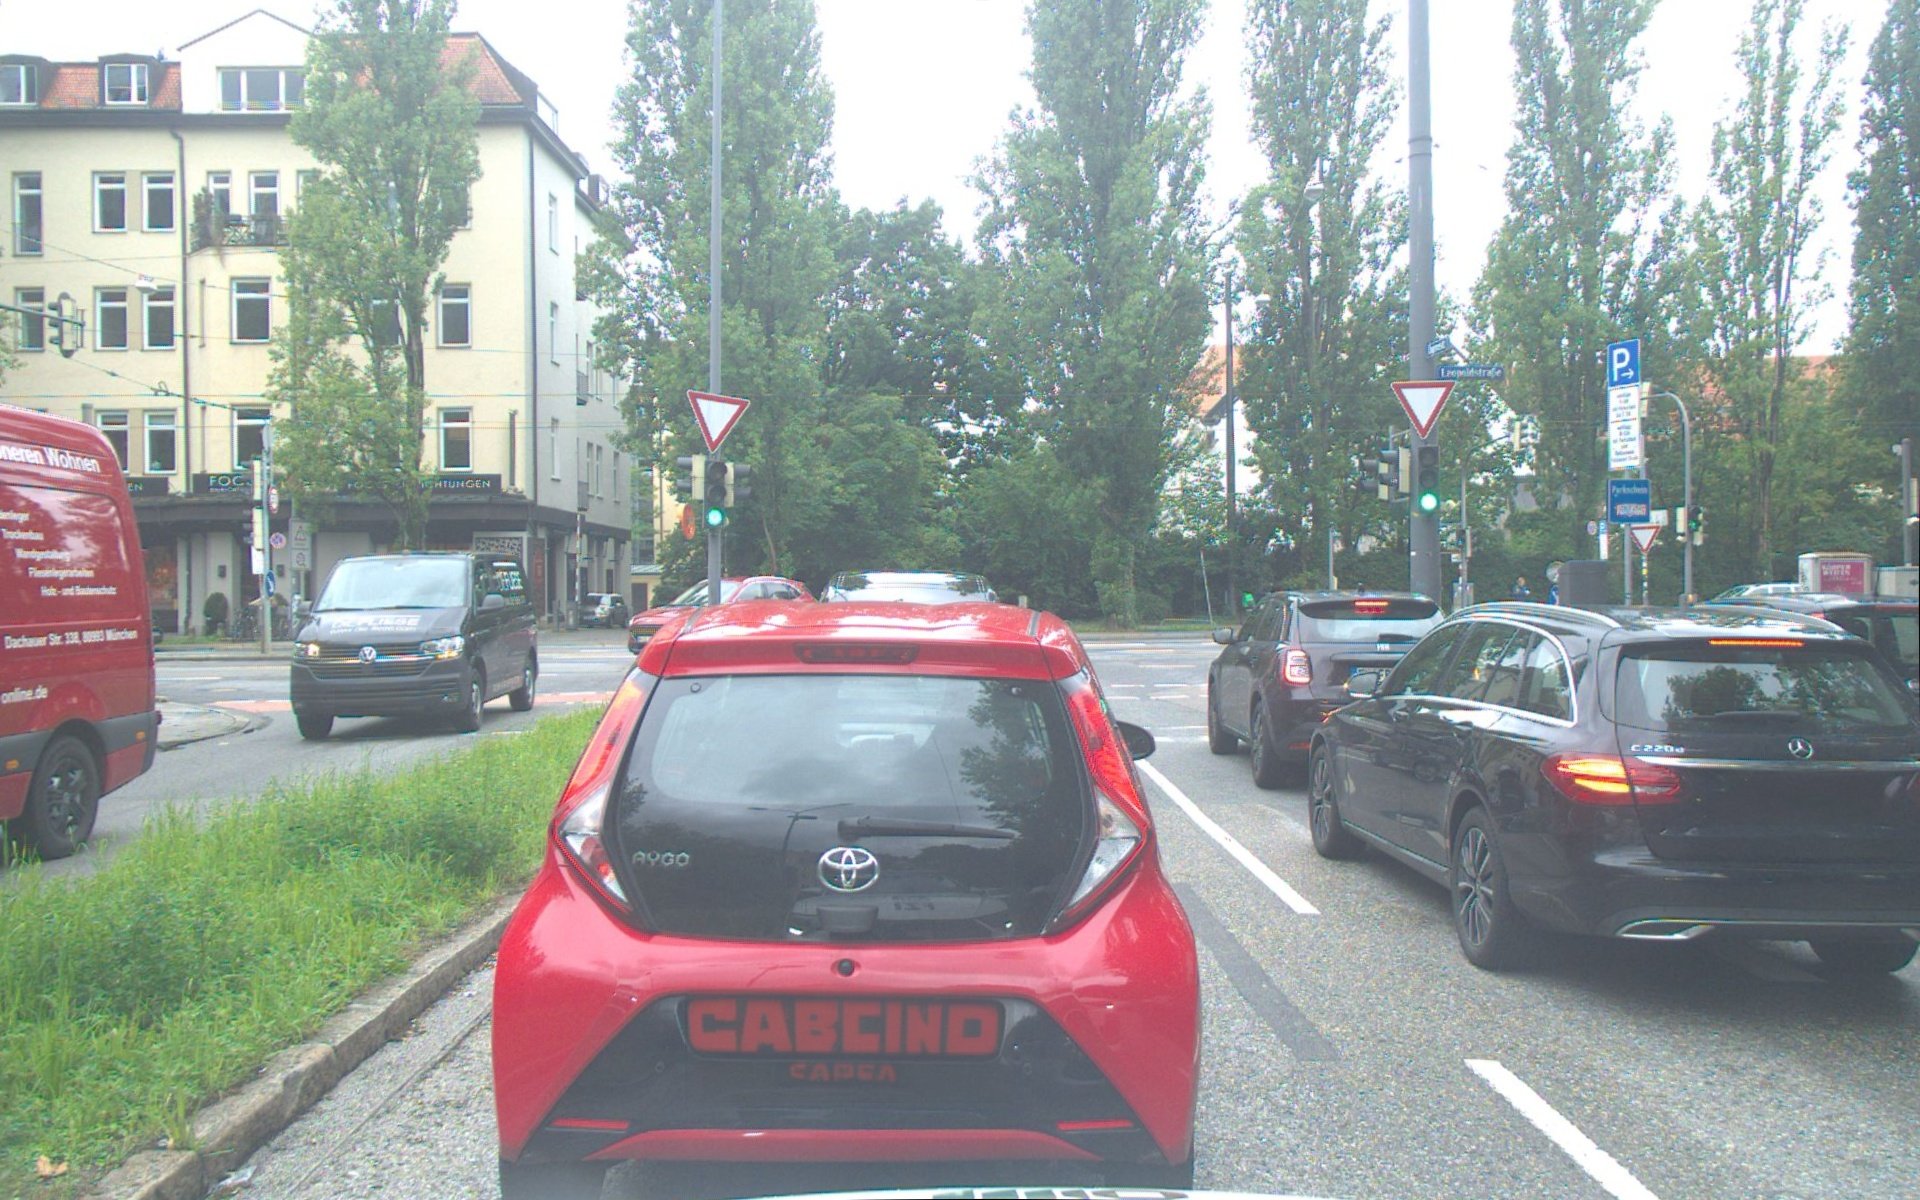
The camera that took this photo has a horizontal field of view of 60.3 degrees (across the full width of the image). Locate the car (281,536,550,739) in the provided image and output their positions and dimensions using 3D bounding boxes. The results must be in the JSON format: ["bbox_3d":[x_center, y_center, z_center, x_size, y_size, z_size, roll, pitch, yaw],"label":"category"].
[{"bbox_3d":[-6.079,0.359,19.059,1.821,2.025,4.701,-1,0,-4],"label":"car"}]

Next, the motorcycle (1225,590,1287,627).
[{"bbox_3d":[9.843,0.281,55.093,1.980,1.190,0.631,1,-1,4],"label":"motorcycle"}]

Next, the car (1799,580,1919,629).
[{"bbox_3d":[29.716,0.118,53.580,4.160,1.512,1.786,-1,0,-3],"label":"car"}]

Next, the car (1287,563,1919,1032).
[{"bbox_3d":[2.987,0.662,7.986,1.825,1.576,4.703,1,0,-1],"label":"car"}]

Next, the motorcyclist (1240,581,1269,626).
[{"bbox_3d":[9.800,0.124,55.083,0.860,1.468,0.621,1,-1,5],"label":"motorcyclist"}]

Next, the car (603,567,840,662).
[{"bbox_3d":[-4.668,0.234,33.177,2.064,1.666,4.930,-1,2,31],"label":"car"}]

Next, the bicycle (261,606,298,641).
[{"bbox_3d":[-21.816,0.745,53.064,0.485,1.100,1.888,-1,0,-4],"label":"bicycle"}]

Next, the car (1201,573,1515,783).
[{"bbox_3d":[3.223,0.573,14.179,1.744,1.512,4.000,-1,0,0],"label":"car"}]

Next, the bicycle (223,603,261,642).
[{"bbox_3d":[-23.017,0.717,53.062,0.485,1.206,1.888,-1,0,-4],"label":"bicycle"}]

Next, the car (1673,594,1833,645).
[{"bbox_3d":[25.245,0.607,52.741,4.251,1.512,1.786,-1,0,-3],"label":"car"}]

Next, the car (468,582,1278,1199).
[{"bbox_3d":[-0.157,0.691,4.978,1.595,1.465,3.377,-1,0,0],"label":"car"}]

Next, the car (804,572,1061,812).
[{"bbox_3d":[-0.166,0.594,13.334,1.700,1.576,4.577,-1,0,0],"label":"car"}]

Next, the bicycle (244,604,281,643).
[{"bbox_3d":[-22.330,0.728,53.000,0.485,1.206,1.888,-1,0,-4],"label":"bicycle"}]

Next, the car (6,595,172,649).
[{"bbox_3d":[-25.602,0.634,48.725,3.909,1.491,1.803,-1,0,-5],"label":"car"}]

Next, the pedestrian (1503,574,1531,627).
[{"bbox_3d":[17.684,0.014,52.536,0.689,1.692,0.549,0,-1,39],"label":"pedestrian"}]

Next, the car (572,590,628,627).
[{"bbox_3d":[-14.978,0.350,68.975,1.691,1.467,3.997,-1,0,-4],"label":"car"}]

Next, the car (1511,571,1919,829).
[{"bbox_3d":[5.808,0.589,12.465,1.793,1.576,4.554,-1,0,0],"label":"car"}]

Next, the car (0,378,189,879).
[{"bbox_3d":[-6.082,0.192,7.720,2.060,2.634,6.081,-1,1,0],"label":"car"}]
